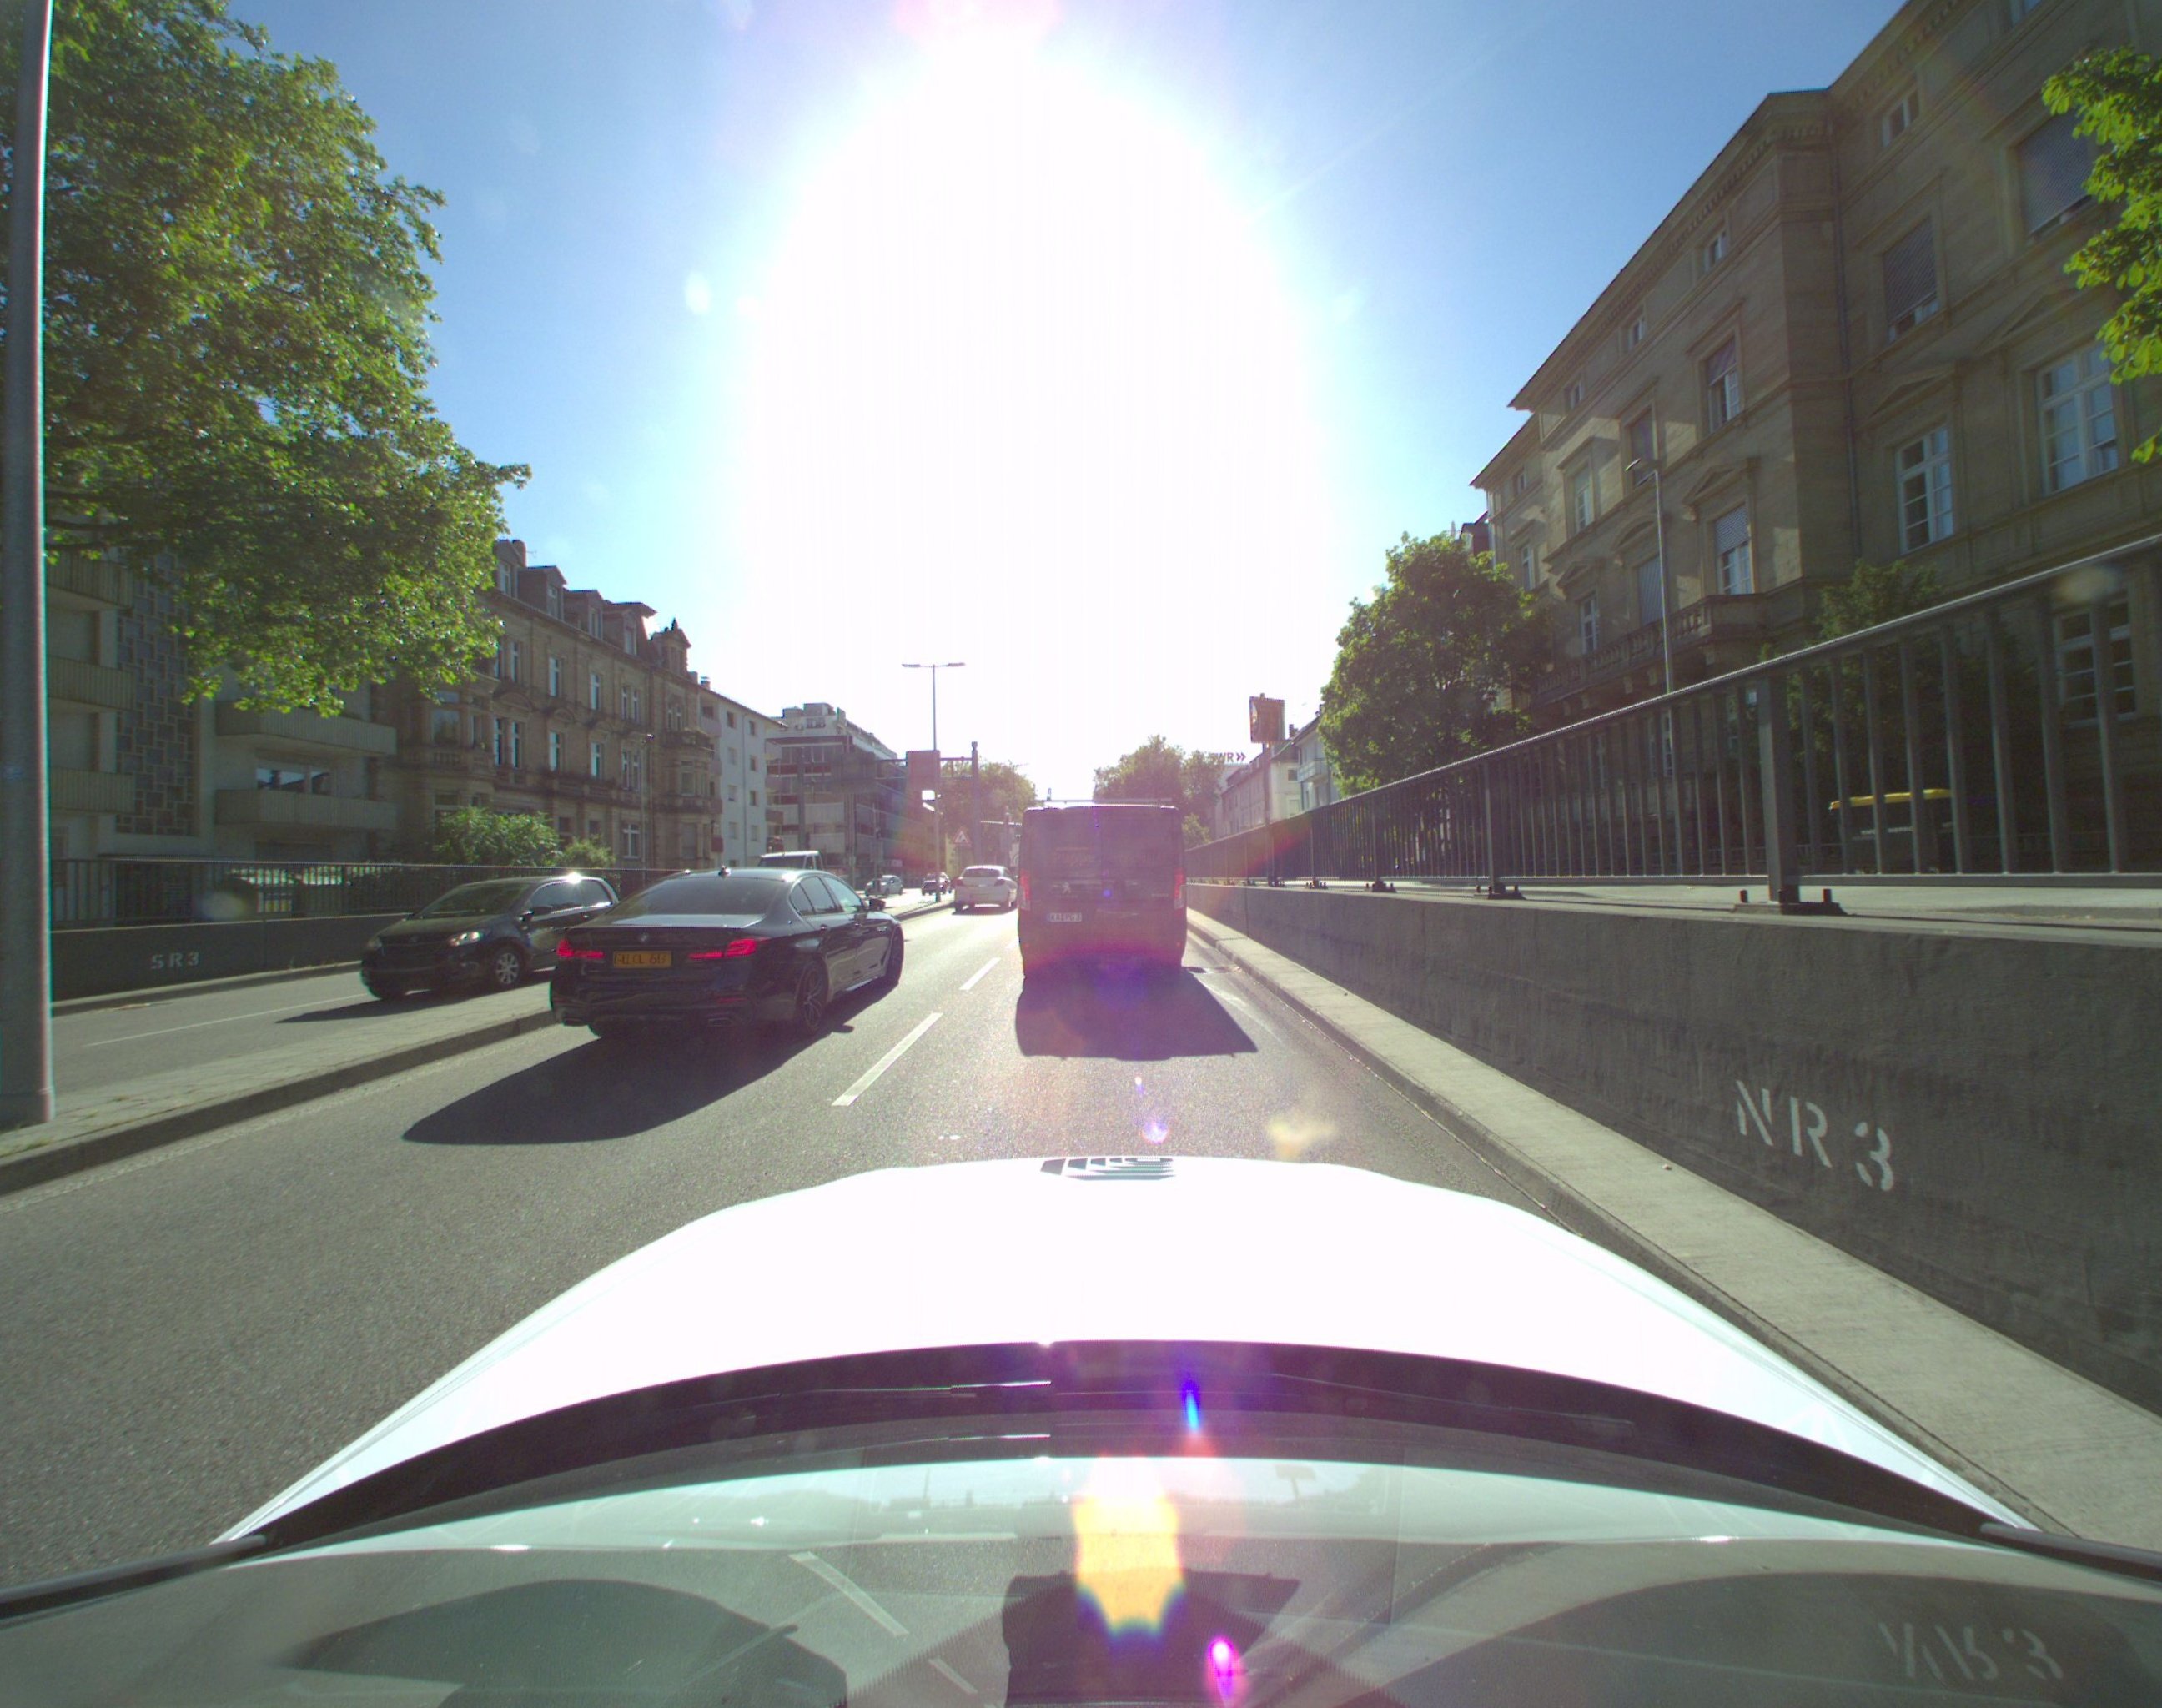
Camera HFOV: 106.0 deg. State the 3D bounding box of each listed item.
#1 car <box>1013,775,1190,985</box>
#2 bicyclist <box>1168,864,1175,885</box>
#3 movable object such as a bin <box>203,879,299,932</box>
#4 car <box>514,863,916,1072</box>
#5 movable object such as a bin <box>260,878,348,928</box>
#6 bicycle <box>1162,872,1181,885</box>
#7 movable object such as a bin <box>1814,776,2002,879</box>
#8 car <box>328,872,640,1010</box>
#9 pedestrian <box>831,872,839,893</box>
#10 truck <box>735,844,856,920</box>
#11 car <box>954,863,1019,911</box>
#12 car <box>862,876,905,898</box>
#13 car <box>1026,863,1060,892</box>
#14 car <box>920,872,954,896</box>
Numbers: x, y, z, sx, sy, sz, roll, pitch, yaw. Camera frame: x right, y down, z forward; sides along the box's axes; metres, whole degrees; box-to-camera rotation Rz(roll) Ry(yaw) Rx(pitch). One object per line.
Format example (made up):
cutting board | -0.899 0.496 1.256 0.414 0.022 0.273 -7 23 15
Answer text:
car | 0.281 0.334 11.465 2.023 2.402 3.973 -1 -1 1
bicyclist | 7.536 1.743 68.143 0.507 1.735 0.597 0 -1 1
movable object such as a bin | -22.977 1.413 22.578 1.274 1.402 1.301 0 -1 1
car | -3.134 0.844 8.348 1.802 1.439 5.002 0 0 1
movable object such as a bin | -22.800 1.434 23.945 1.274 1.402 1.325 0 -1 1
bicycle | 7.592 2.057 68.148 1.560 1.118 0.570 0 -1 0
movable object such as a bin | 12.492 -0.371 12.355 1.449 1.324 1.402 -7 0 -16
car | -8.093 1.077 11.504 1.604 1.457 3.608 -5 -1 0
pedestrian | -22.536 2.633 74.652 0.659 1.896 0.720 0 -1 -12
truck | -10.897 0.963 31.713 2.220 2.527 6.132 -3 0 2
car | -3.028 1.024 26.716 1.613 1.403 3.852 0 0 1
car | -14.080 2.331 58.177 1.666 1.410 3.625 -1 -1 10
car | -2.062 1.277 45.064 1.683 1.483 3.319 0 0 1
car | -9.850 2.012 55.828 1.586 1.445 3.496 -4 -1 1
